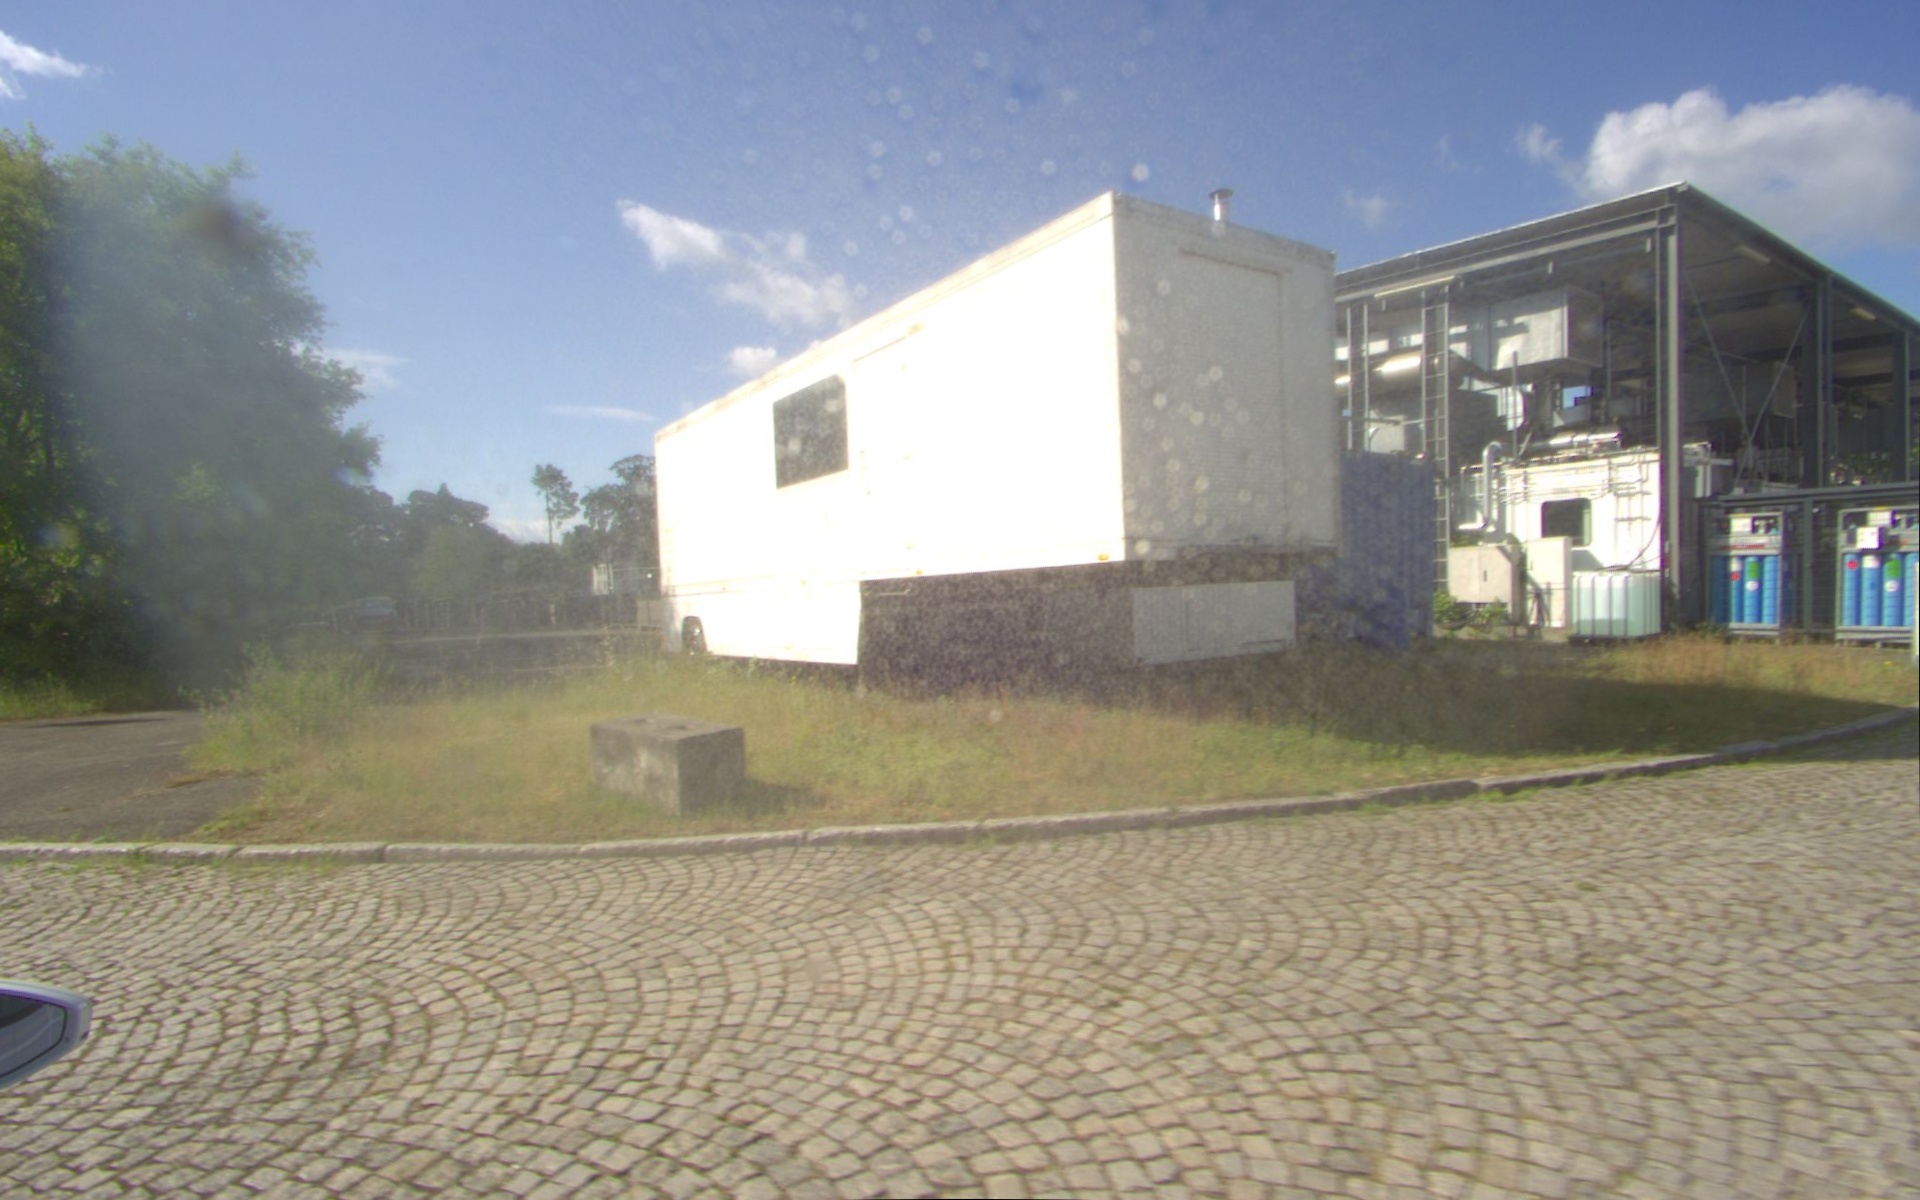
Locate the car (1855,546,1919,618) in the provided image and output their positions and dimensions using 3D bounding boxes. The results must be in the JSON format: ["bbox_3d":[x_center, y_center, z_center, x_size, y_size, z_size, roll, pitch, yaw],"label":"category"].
[{"bbox_3d":[19.773,-0.378,19.406,1.592,1.394,3.444,-3,1,-39],"label":"car"}]

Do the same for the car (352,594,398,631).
[{"bbox_3d":[-24.130,0.501,41.324,1.523,1.426,3.558,-2,1,-30],"label":"car"}]

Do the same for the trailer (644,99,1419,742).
[{"bbox_3d":[-0.597,-1.122,11.481,2.744,3.964,10.814,-3,1,-34],"label":"trailer"}]
